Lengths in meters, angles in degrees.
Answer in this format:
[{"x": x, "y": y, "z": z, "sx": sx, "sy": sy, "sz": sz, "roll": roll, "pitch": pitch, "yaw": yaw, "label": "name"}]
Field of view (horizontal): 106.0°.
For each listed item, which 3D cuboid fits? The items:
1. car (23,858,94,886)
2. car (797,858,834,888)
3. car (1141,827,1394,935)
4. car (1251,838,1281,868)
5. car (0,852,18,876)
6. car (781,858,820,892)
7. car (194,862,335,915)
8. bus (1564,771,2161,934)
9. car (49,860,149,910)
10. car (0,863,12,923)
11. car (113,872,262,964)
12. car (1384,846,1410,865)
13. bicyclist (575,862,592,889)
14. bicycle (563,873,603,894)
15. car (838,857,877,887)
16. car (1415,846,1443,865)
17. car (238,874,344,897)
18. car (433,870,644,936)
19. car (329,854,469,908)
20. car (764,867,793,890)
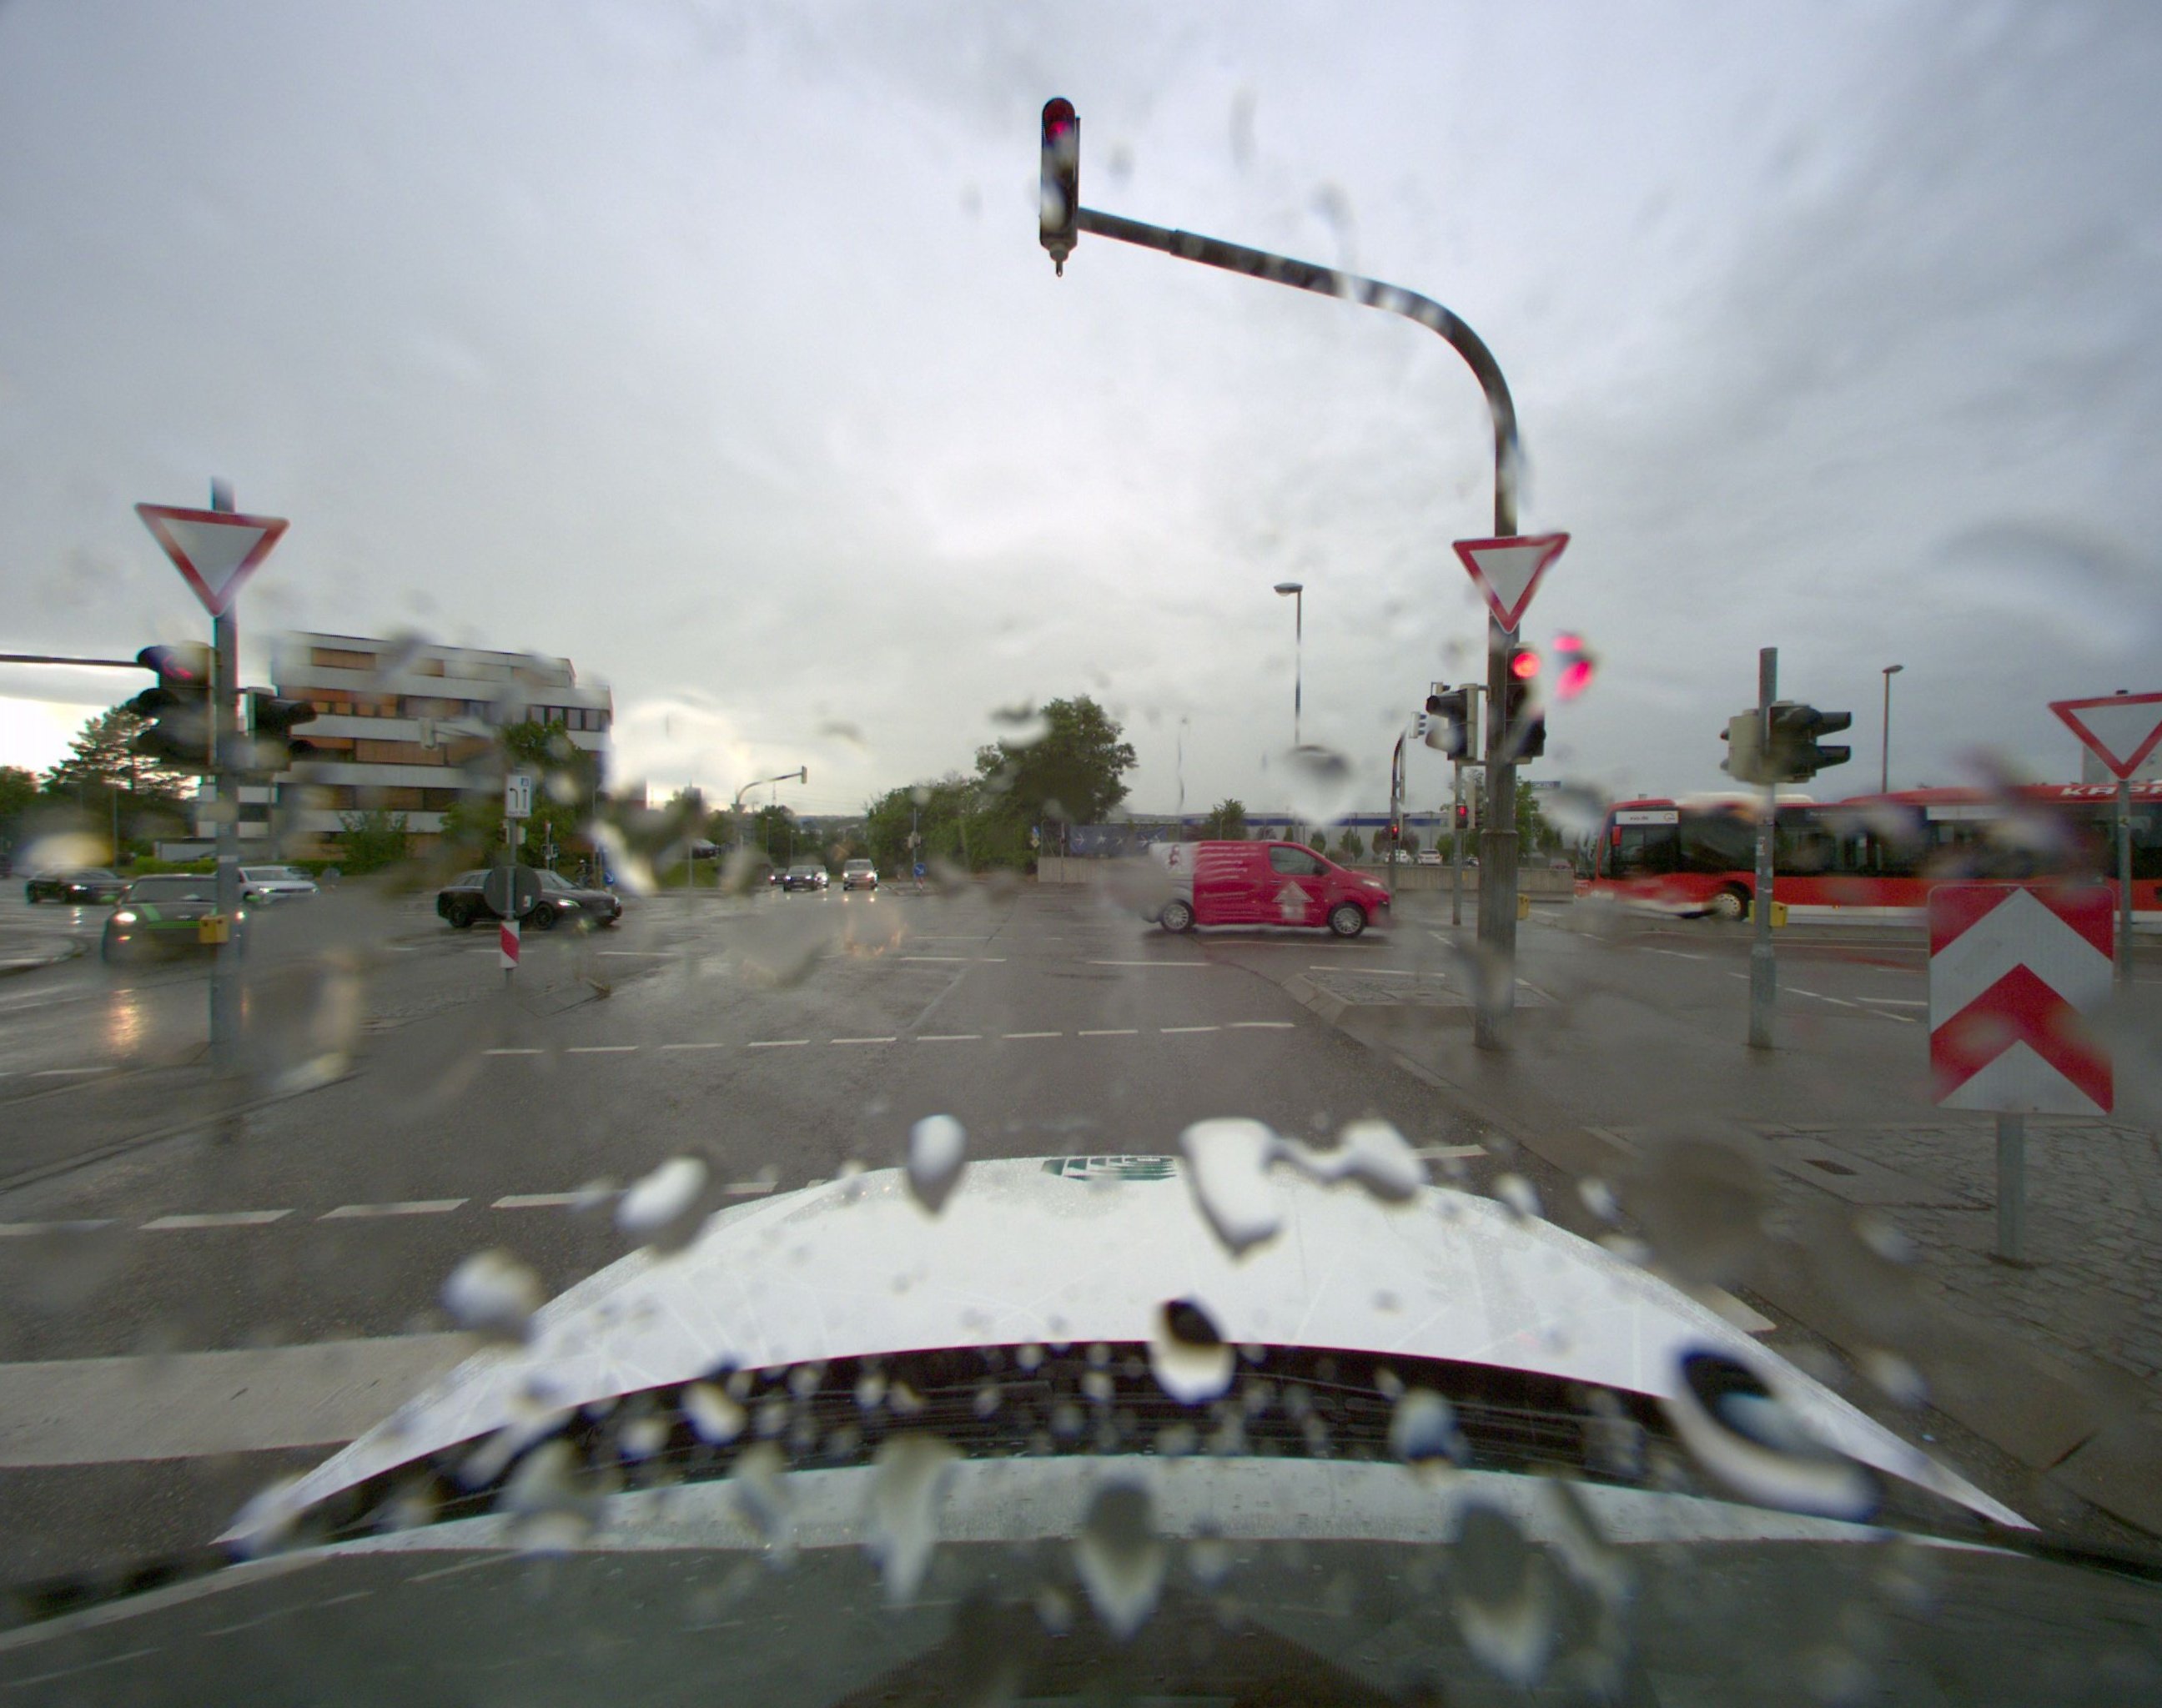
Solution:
[{"x": -62.104, "y": 1.040, "z": 49.447, "sx": 3.950, "sy": 1.596, "sz": 1.969, "roll": 0, "pitch": 0, "yaw": 28, "label": "car"}, {"x": -18.274, "y": 1.275, "z": 56.158, "sx": 1.995, "sy": 1.895, "sz": 3.984, "roll": 0, "pitch": 0, "yaw": -12, "label": "car"}, {"x": 3.753, "y": 0.505, "z": 16.682, "sx": 4.738, "sy": 2.013, "sz": 2.008, "roll": 0, "pitch": 0, "yaw": 14, "label": "car"}, {"x": 13.097, "y": -0.069, "z": 57.561, "sx": 1.979, "sy": 2.013, "sz": 4.015, "roll": 0, "pitch": 0, "yaw": 13, "label": "car"}, {"x": -86.261, "y": 0.811, "z": 64.737, "sx": 3.949, "sy": 1.849, "sz": 2.013, "roll": 0, "pitch": 0, "yaw": 39, "label": "car"}, {"x": -16.767, "y": 1.238, "z": 48.782, "sx": 1.998, "sy": 1.895, "sz": 3.978, "roll": 0, "pitch": 0, "yaw": -16, "label": "car"}, {"x": -28.451, "y": 1.157, "z": 28.402, "sx": 3.953, "sy": 1.684, "sz": 2.010, "roll": 0, "pitch": 0, "yaw": 21, "label": "car"}, {"x": 18.738, "y": -0.118, "z": 19.291, "sx": 12.177, "sy": 3.321, "sz": 3.090, "roll": 1, "pitch": 0, "yaw": 19, "label": "bus"}, {"x": -39.062, "y": 1.175, "z": 32.383, "sx": 3.950, "sy": 1.838, "sz": 1.715, "roll": 0, "pitch": 0, "yaw": 28, "label": "car"}, {"x": -33.362, "y": 1.124, "z": 23.195, "sx": 4.561, "sy": 1.702, "sz": 2.009, "roll": 0, "pitch": 0, "yaw": 16, "label": "car"}, {"x": -16.205, "y": 1.072, "z": 14.924, "sx": 3.418, "sy": 1.387, "sz": 1.691, "roll": 0, "pitch": 0, "yaw": 45, "label": "car"}, {"x": 26.382, "y": 0.106, "z": 67.863, "sx": 1.976, "sy": 1.478, "sz": 4.021, "roll": 0, "pitch": 0, "yaw": 22, "label": "car"}, {"x": -26.588, "y": 1.136, "z": 43.524, "sx": 0.542, "sy": 1.446, "sz": 0.603, "roll": 0, "pitch": 0, "yaw": -2, "label": "bicyclist"}, {"x": -26.610, "y": 1.577, "z": 43.523, "sx": 1.769, "sy": 1.052, "sz": 0.609, "roll": 0, "pitch": 0, "yaw": -2, "label": "bicycle"}, {"x": -13.141, "y": 1.026, "z": 48.105, "sx": 1.995, "sy": 1.618, "sz": 3.983, "roll": 0, "pitch": 0, "yaw": -13, "label": "car"}, {"x": 28.689, "y": 0.115, "z": 67.184, "sx": 1.976, "sy": 1.478, "sz": 4.021, "roll": 0, "pitch": 0, "yaw": 21, "label": "car"}, {"x": -40.903, "y": 1.607, "z": 42.264, "sx": 3.507, "sy": 1.105, "sz": 1.813, "roll": 0, "pitch": 0, "yaw": -12, "label": "car"}, {"x": -13.891, "y": 1.199, "z": 20.914, "sx": 4.623, "sy": 1.476, "sz": 2.009, "roll": 0, "pitch": 0, "yaw": 17, "label": "car"}, {"x": -24.889, "y": 0.940, "z": 29.762, "sx": 4.108, "sy": 1.840, "sz": 2.009, "roll": 0, "pitch": 0, "yaw": 17, "label": "car"}, {"x": -26.880, "y": 2.188, "z": 72.463, "sx": 1.997, "sy": 1.895, "sz": 3.979, "roll": 0, "pitch": 0, "yaw": -15, "label": "car"}]
